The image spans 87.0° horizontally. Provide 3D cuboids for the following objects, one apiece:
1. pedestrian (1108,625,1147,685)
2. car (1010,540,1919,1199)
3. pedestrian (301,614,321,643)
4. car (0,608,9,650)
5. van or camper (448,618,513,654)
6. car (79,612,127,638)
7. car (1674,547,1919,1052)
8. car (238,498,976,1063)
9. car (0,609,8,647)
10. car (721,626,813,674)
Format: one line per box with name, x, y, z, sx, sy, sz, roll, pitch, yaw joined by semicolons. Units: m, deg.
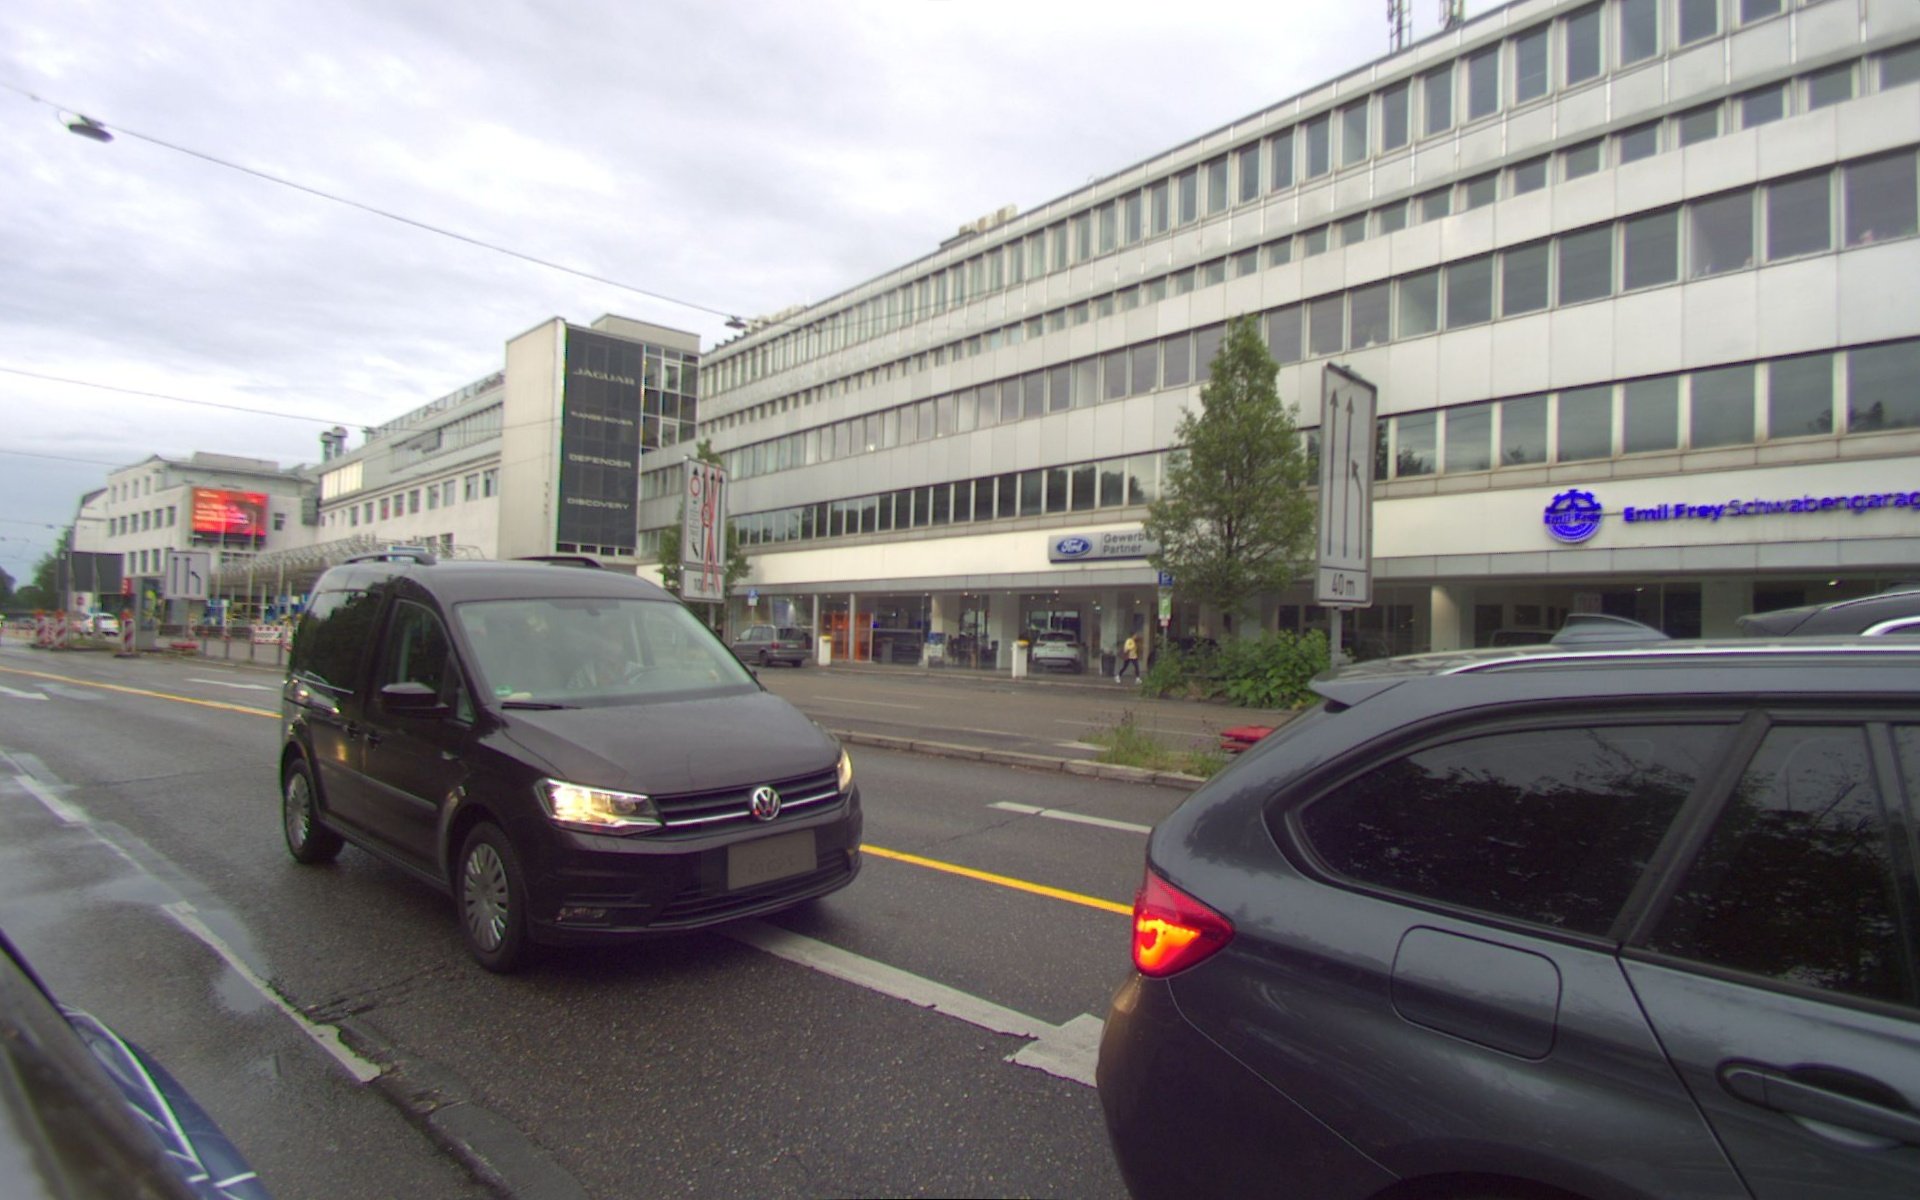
pedestrian;5.143;1.666;31.055;0.750;1.788;0.865;-1;0;-42
car;2.338;0.691;1.082;4.476;1.469;1.757;-1;-3;42
pedestrian;-42.632;1.861;66.474;0.882;1.828;0.942;-1;0;-45
car;-39.654;1.165;40.679;4.333;1.650;1.747;-1;0;43
van or camper;-27.227;2.016;57.373;1.913;1.938;4.688;3;-3;-44
car;-57.221;1.693;67.575;3.761;1.544;1.782;-2;-6;40
car;4.909;0.637;2.922;4.445;1.668;1.789;-1;0;44
car;-2.199;0.597;5.476;4.429;1.828;1.880;-1;0;42
car;-43.314;1.251;44.555;3.948;1.629;1.747;-1;0;43
car;-8.273;2.072;43.081;1.895;1.829;4.169;-1;0;-44
